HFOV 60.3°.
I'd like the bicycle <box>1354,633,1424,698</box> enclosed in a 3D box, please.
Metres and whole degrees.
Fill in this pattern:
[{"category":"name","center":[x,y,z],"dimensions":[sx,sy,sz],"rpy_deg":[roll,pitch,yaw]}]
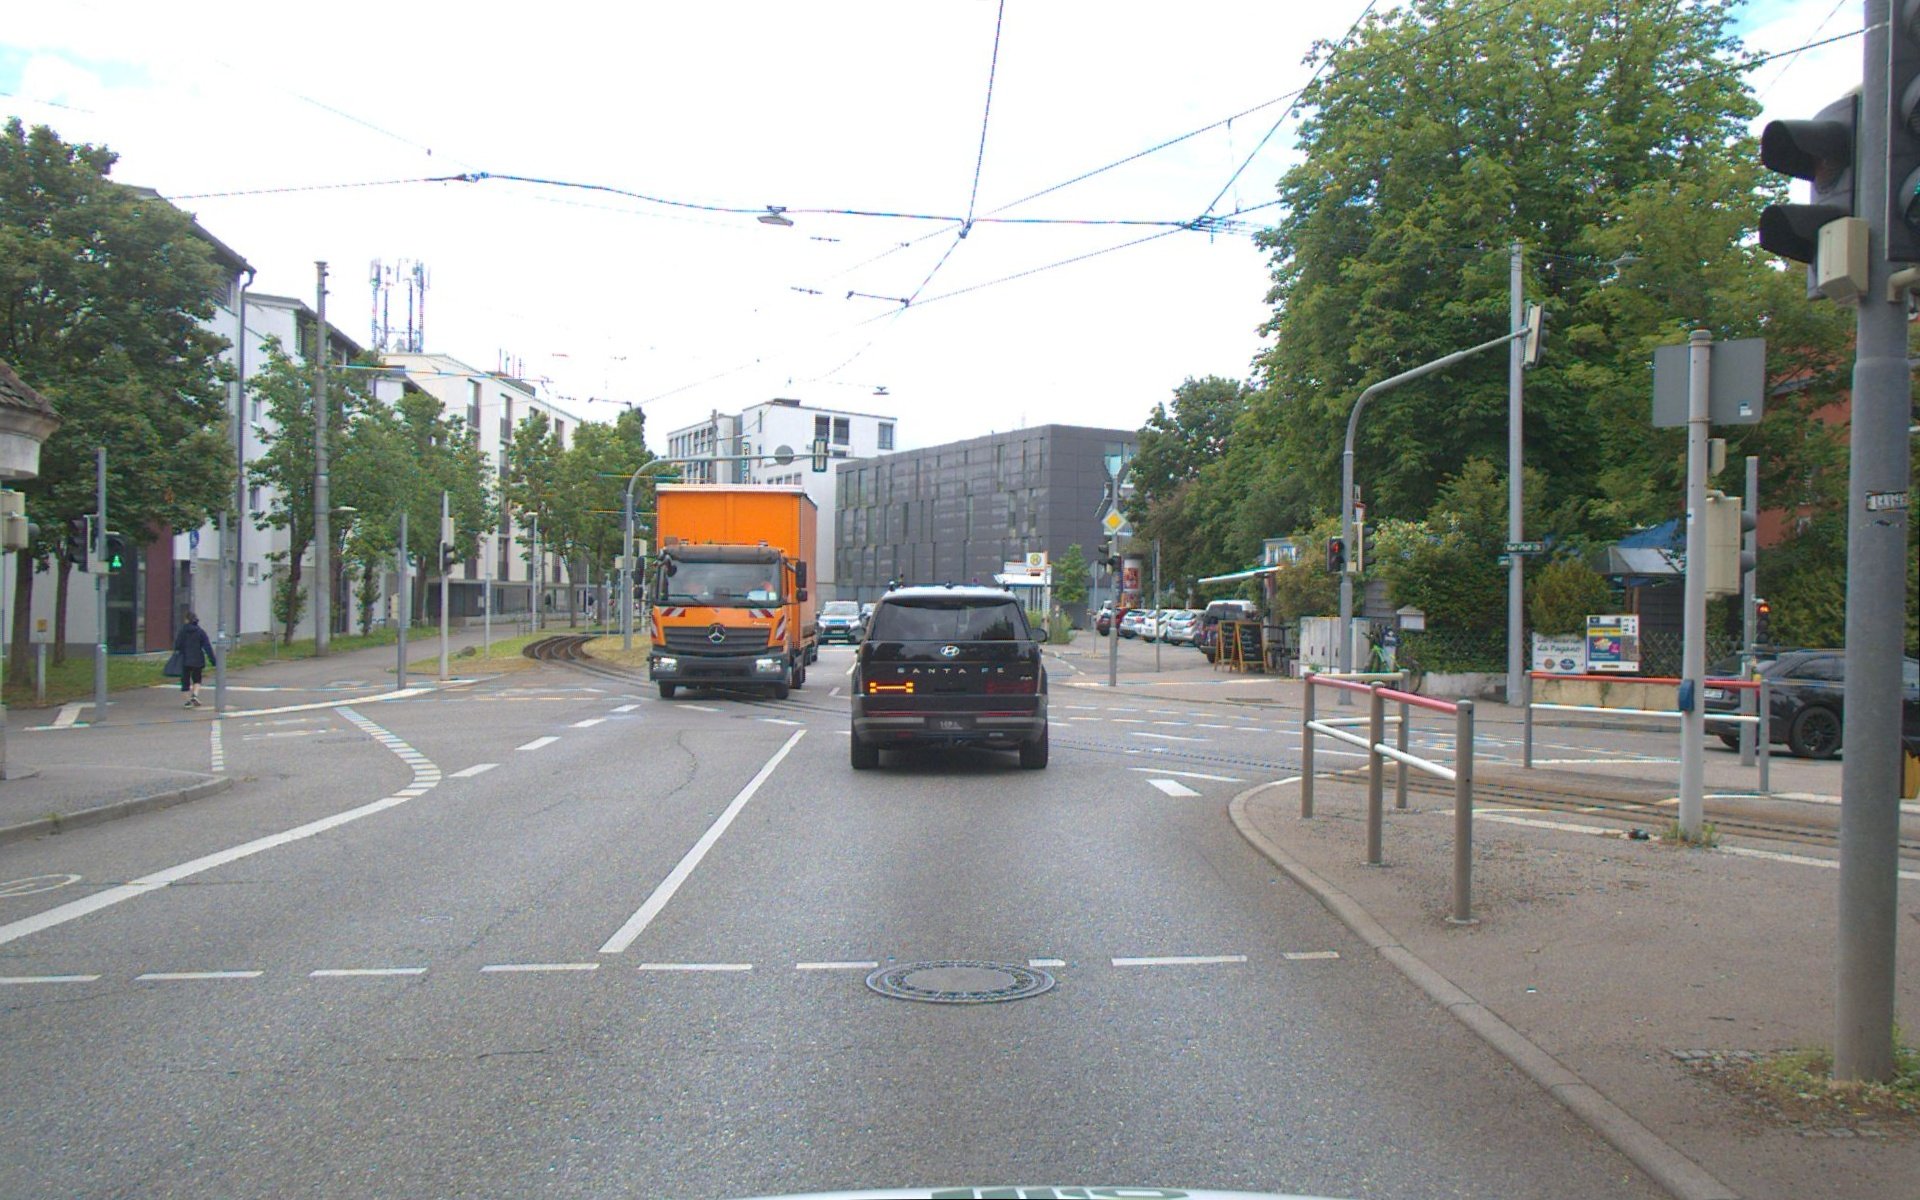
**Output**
[{"category":"bicycle","center":[8.744,1.320,33.775],"dimensions":[0.538,1.158,1.873],"rpy_deg":[1,3,-13]}]

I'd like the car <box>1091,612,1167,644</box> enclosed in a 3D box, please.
[{"category":"car","center":[8.479,1.425,83.110],"dimensions":[3.453,1.481,1.664],"rpy_deg":[3,-1,-29]}]

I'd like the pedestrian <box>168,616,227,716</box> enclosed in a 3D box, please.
[{"category":"pedestrian","center":[-13.261,1.129,28.794],"dimensions":[0.662,1.673,0.818],"rpy_deg":[-1,2,-6]}]

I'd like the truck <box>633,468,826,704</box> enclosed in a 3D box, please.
[{"category":"truck","center":[-4.059,-0.182,30.965],"dimensions":[2.713,3.784,8.464],"rpy_deg":[1,-1,-2]}]

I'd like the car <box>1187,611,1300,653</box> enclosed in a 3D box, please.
[{"category":"car","center":[10.589,1.188,61.732],"dimensions":[3.950,1.503,1.859],"rpy_deg":[1,-1,-33]}]

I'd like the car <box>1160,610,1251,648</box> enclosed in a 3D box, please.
[{"category":"car","center":[9.924,1.157,66.774],"dimensions":[3.471,1.402,1.531],"rpy_deg":[0,2,-32]}]

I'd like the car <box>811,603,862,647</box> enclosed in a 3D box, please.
[{"category":"car","center":[-4.853,0.963,65.337],"dimensions":[1.752,1.690,4.275],"rpy_deg":[0,0,-1]}]

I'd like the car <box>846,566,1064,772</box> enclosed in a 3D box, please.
[{"category":"car","center":[-0.147,0.619,16.766],"dimensions":[1.877,1.755,4.168],"rpy_deg":[2,0,-3]}]

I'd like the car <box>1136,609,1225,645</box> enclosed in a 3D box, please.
[{"category":"car","center":[9.588,1.178,71.777],"dimensions":[3.597,1.460,1.577],"rpy_deg":[-1,-1,-28]}]

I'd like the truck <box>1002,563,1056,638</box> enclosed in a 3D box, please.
[{"category":"truck","center":[3.442,0.026,84.019],"dimensions":[2.520,3.587,7.810],"rpy_deg":[1,0,1]}]

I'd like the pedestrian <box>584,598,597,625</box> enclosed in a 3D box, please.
[{"category":"pedestrian","center":[-24.093,0.734,107.792],"dimensions":[0.601,1.724,0.785],"rpy_deg":[1,-1,-1]}]

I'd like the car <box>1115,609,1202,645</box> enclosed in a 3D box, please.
[{"category":"car","center":[9.340,1.258,77.821],"dimensions":[3.753,1.499,1.779],"rpy_deg":[3,-2,-31]}]

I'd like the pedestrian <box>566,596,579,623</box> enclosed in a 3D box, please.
[{"category":"pedestrian","center":[-25.094,0.614,107.157],"dimensions":[0.601,1.724,0.785],"rpy_deg":[1,-1,-1]}]

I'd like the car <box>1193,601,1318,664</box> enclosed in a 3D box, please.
[{"category":"car","center":[8.883,0.924,49.493],"dimensions":[1.815,1.779,4.676],"rpy_deg":[0,0,36]}]

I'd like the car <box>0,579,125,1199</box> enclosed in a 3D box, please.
[{"category":"car","center":[-2.899,0.670,2.253],"dimensions":[1.630,1.474,3.826],"rpy_deg":[1,0,-2]}]

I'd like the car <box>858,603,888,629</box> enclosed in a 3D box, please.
[{"category":"car","center":[-5.241,0.964,100.524],"dimensions":[1.704,1.586,4.182],"rpy_deg":[0,0,-2]}]

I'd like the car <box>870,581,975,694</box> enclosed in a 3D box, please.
[{"category":"car","center":[-0.813,0.687,32.739],"dimensions":[1.819,2.069,4.433],"rpy_deg":[0,0,-5]}]

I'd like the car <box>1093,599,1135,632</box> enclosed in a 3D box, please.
[{"category":"car","center":[9.083,0.955,97.665],"dimensions":[1.953,1.870,4.516],"rpy_deg":[-1,-1,-1]}]

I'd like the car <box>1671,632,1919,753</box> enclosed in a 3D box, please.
[{"category":"car","center":[12.316,1.246,22.508],"dimensions":[4.416,1.489,1.998],"rpy_deg":[2,-1,-5]}]
